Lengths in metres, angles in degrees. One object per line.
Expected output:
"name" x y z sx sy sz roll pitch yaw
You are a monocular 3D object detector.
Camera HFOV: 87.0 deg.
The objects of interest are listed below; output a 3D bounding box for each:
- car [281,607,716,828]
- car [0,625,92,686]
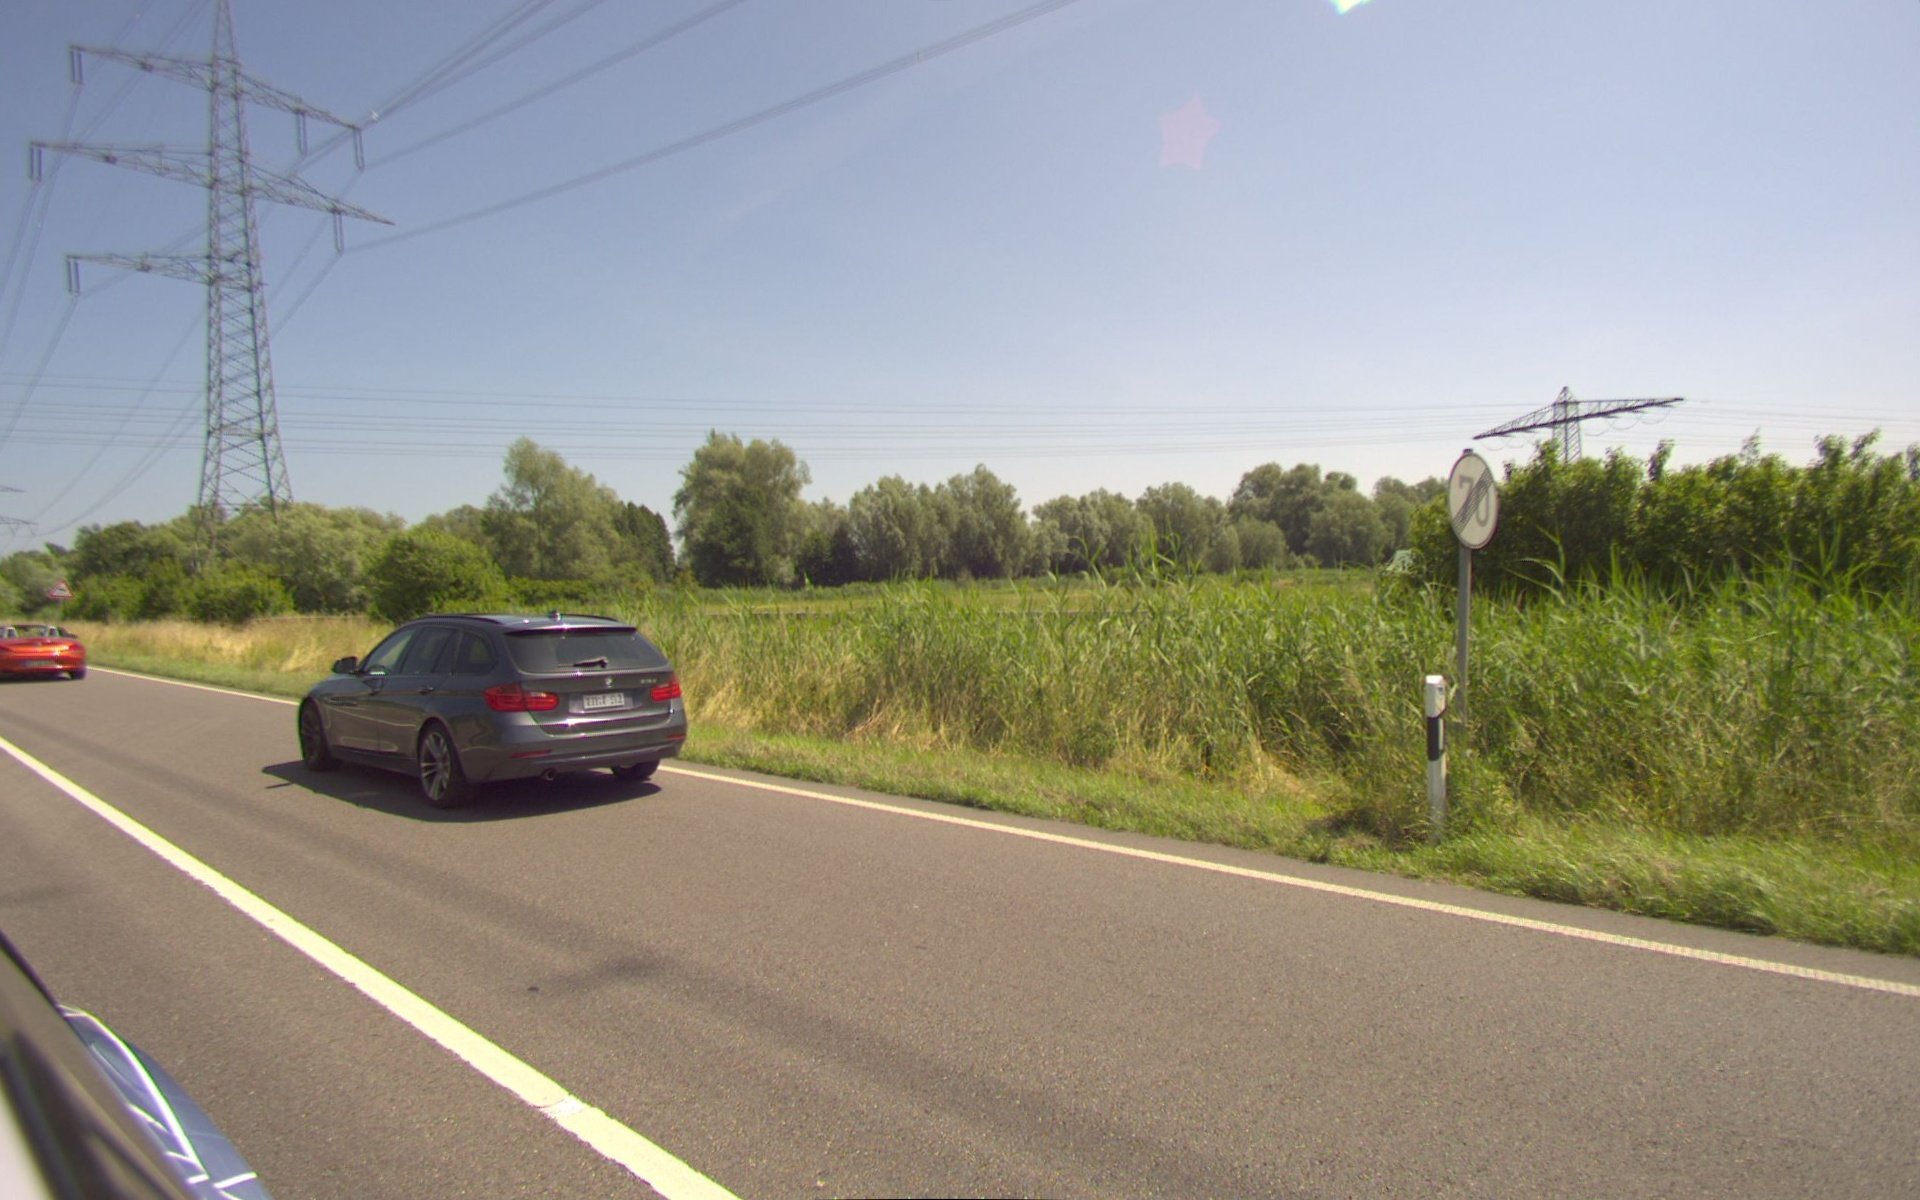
"car" -4.143 0.811 8.750 4.318 1.444 1.727 -1 -1 40
"car" -21.520 1.218 23.140 4.318 1.237 1.841 -1 -1 40
